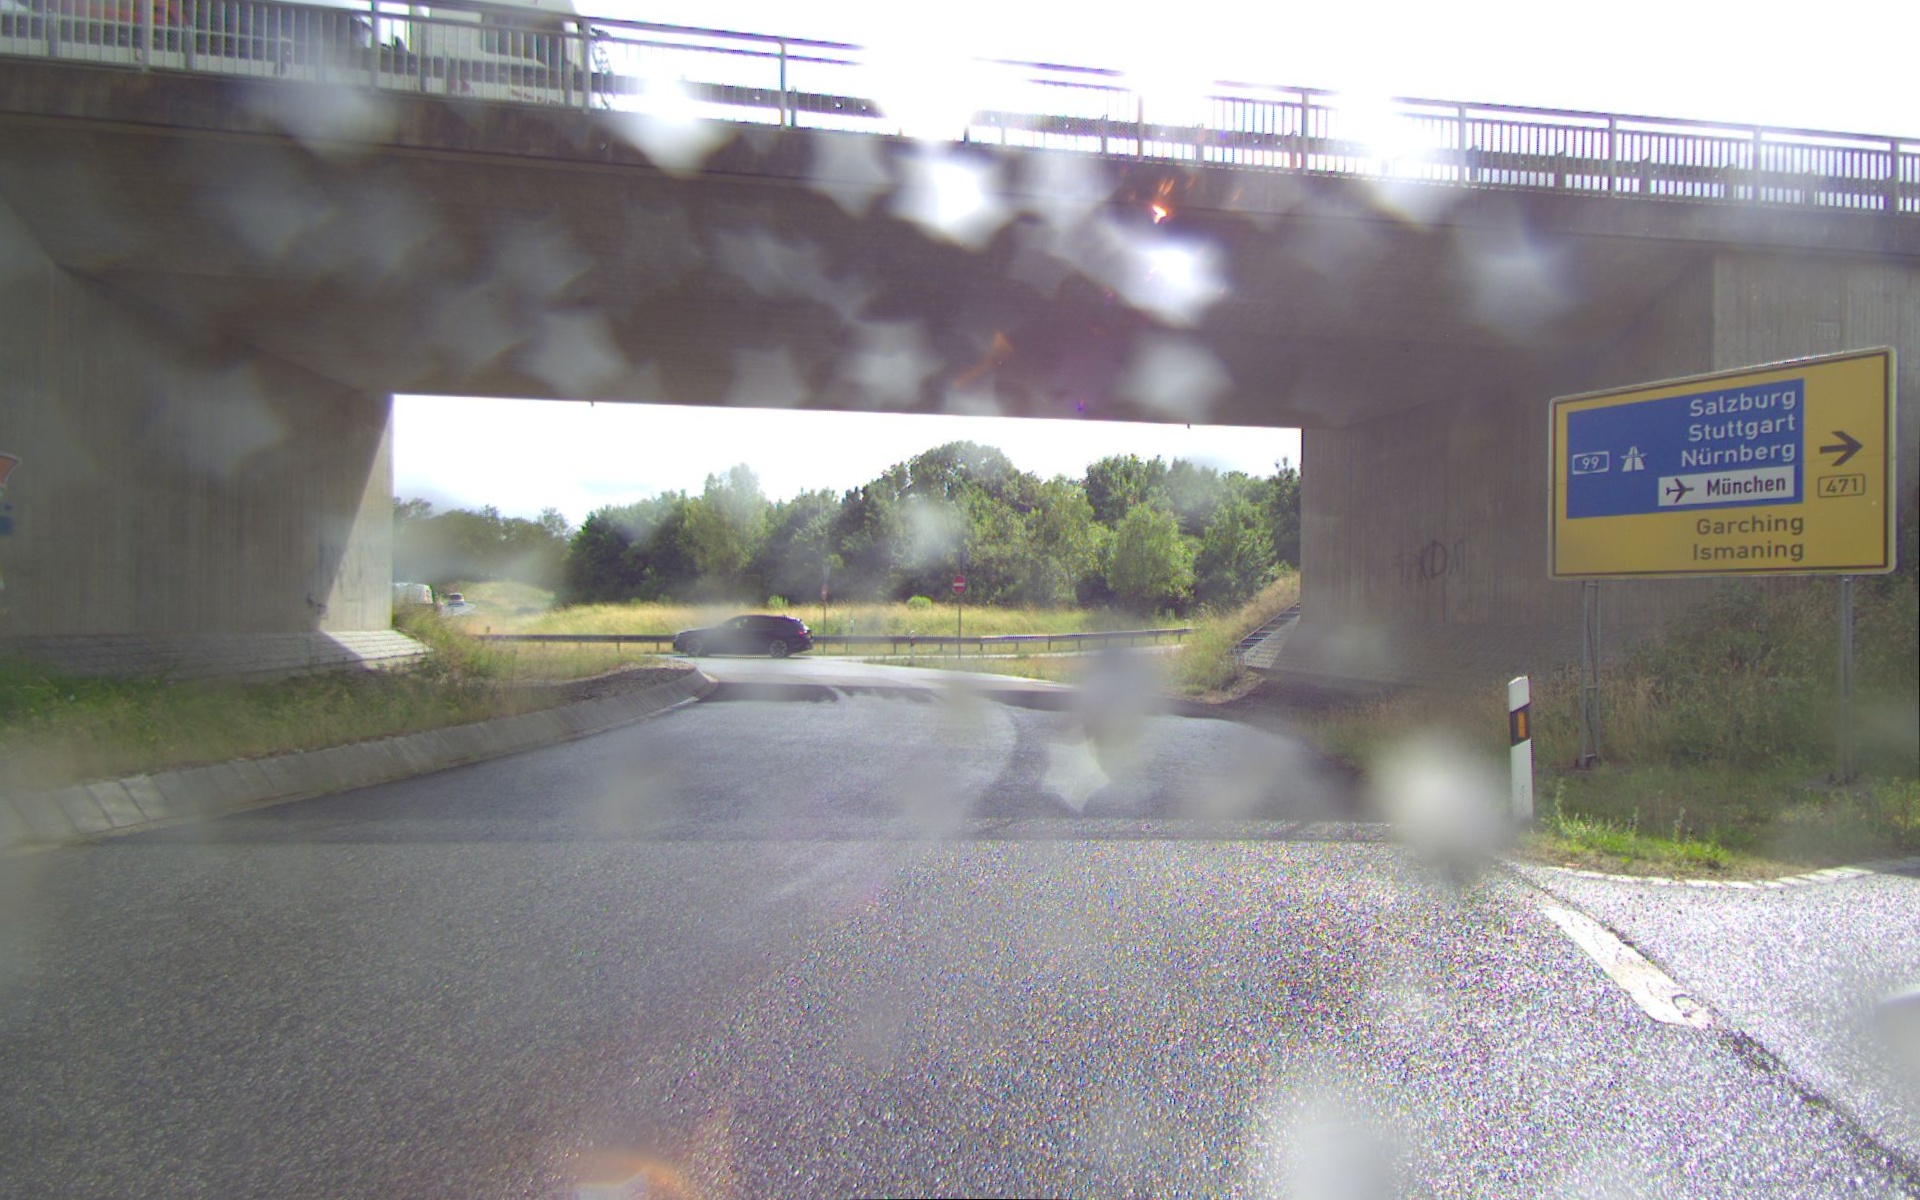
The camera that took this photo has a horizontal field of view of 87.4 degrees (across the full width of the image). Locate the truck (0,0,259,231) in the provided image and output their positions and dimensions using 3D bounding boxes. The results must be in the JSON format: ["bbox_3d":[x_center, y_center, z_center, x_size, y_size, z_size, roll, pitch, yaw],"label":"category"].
[{"bbox_3d":[-15.396,-7.064,12.660,10.639,2.912,2.201,1,1,-14],"label":"truck"}]
